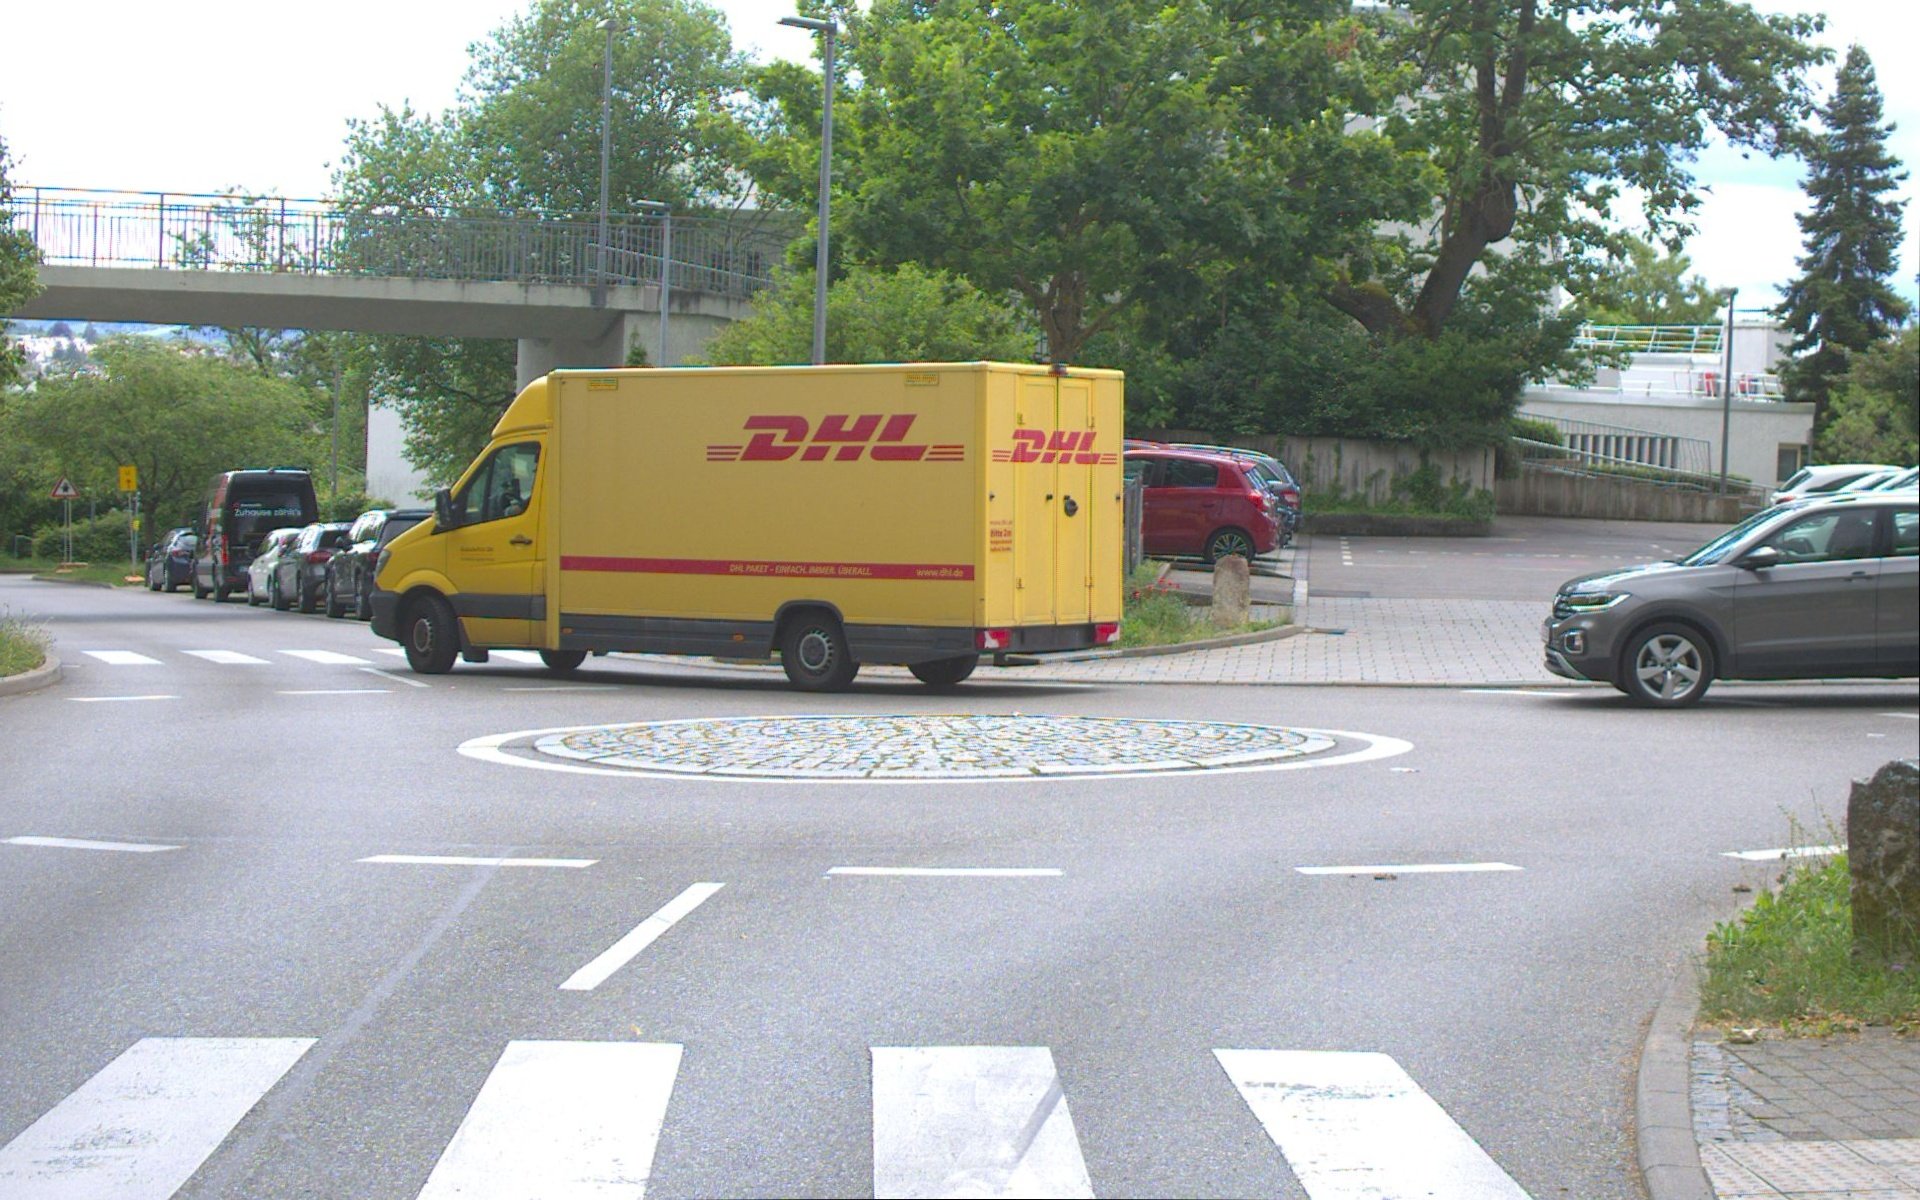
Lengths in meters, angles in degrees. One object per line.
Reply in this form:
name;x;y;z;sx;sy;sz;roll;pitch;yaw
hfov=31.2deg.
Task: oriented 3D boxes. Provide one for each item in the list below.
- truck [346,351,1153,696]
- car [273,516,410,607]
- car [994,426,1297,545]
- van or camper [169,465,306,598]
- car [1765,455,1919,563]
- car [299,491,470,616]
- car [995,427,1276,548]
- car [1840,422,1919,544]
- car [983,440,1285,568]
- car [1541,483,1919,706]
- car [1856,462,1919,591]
truck;-1.926;-0.684;29.712;6.815;2.693;2.469;2;1;34
car;-10.521;-0.658;58.313;1.699;1.491;4.120;0;1;-19
car;2.837;-1.769;53.187;4.544;1.662;1.945;2;2;2
van or camper;-14.484;-1.353;68.717;1.993;2.514;5.472;-1;1;-18
car;14.130;-1.331;51.287;3.982;1.512;1.756;2;2;10
car;-8.759;-0.661;52.087;1.813;1.673;4.371;0;-2;-20
car;2.551;-1.653;50.463;3.987;1.608;1.945;2;2;2
car;14.099;-1.517;46.337;4.120;1.588;1.692;2;2;9
car;2.188;-1.205;43.045;3.650;1.434;1.684;2;2;4
car;6.436;-0.058;25.781;3.997;1.612;1.722;0;1;7
car;13.005;-0.831;41.437;4.042;1.512;1.755;2;2;9
